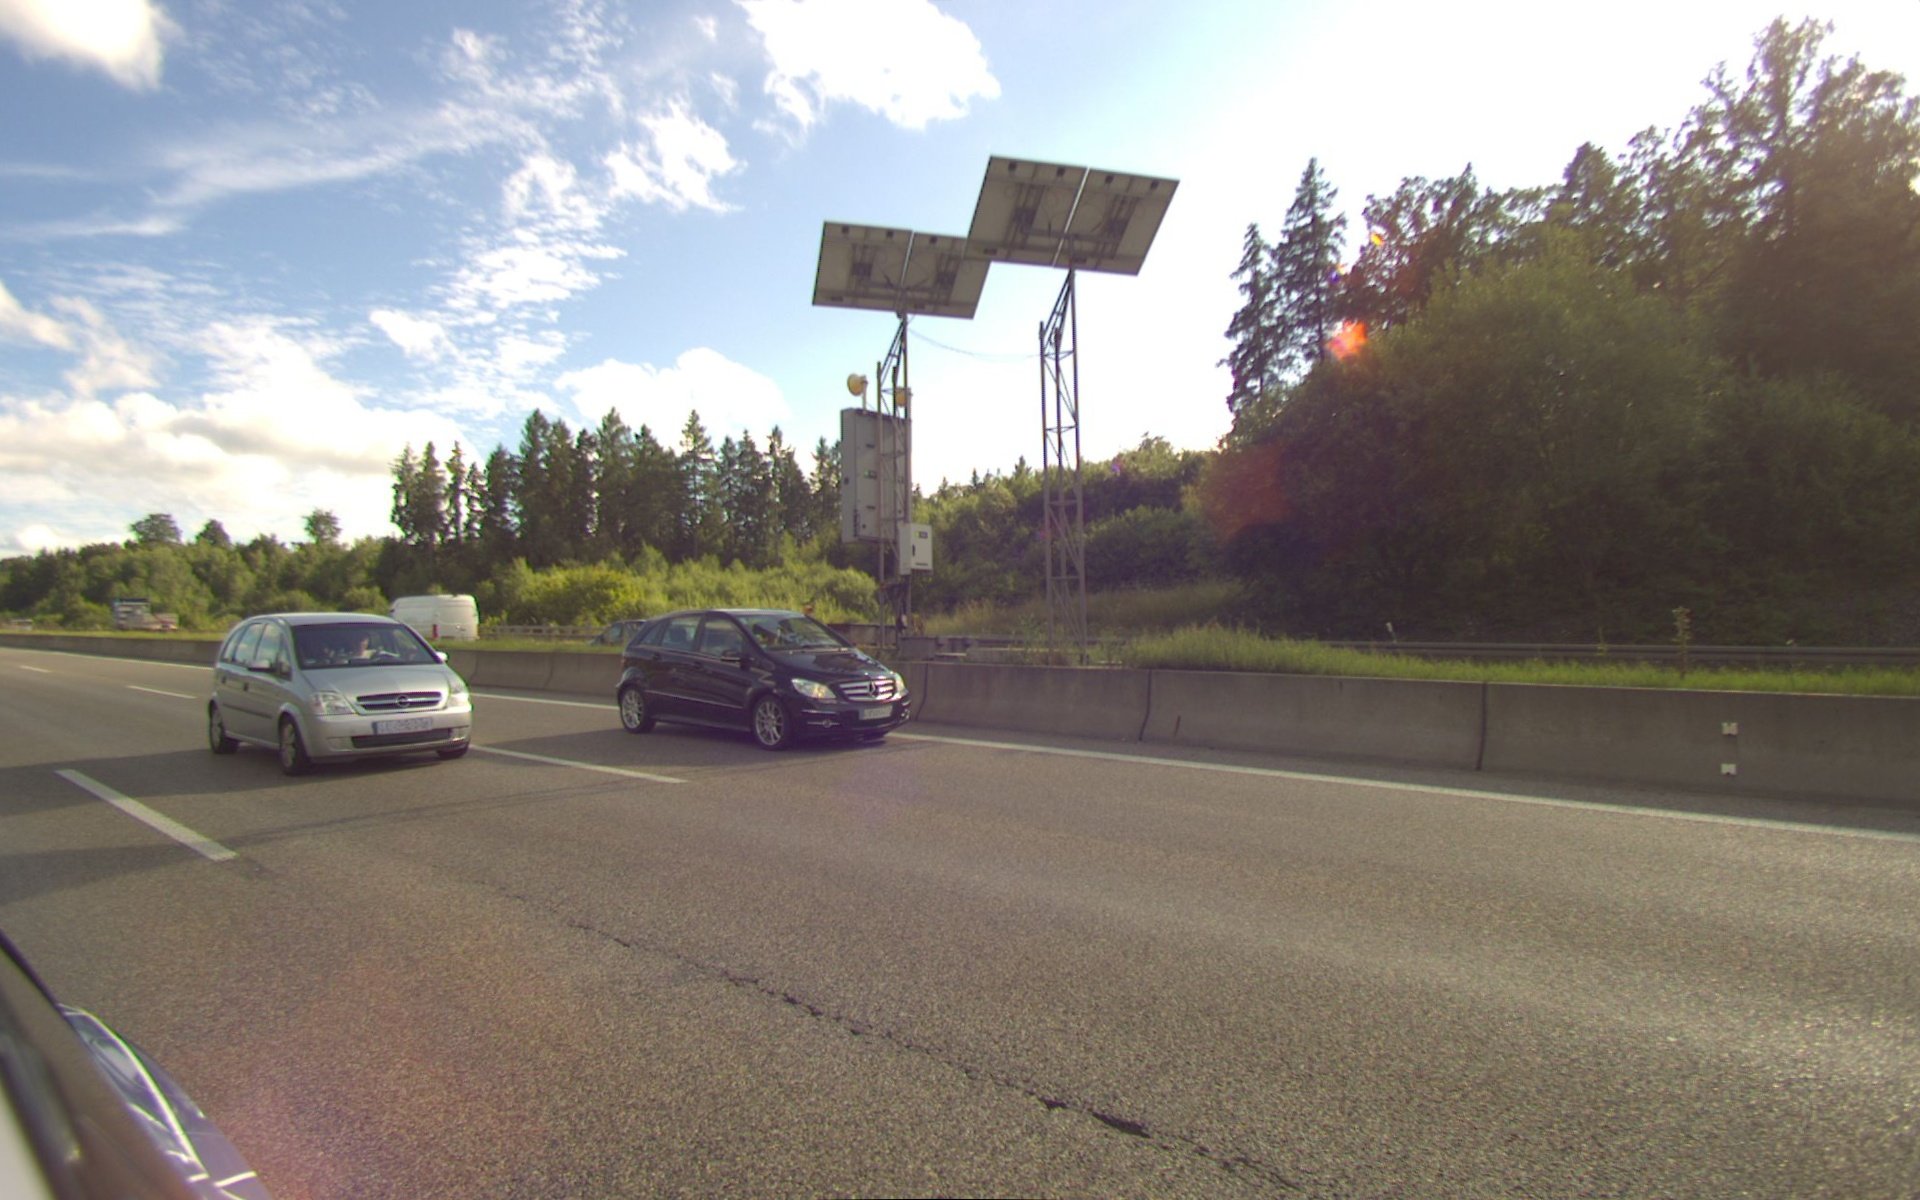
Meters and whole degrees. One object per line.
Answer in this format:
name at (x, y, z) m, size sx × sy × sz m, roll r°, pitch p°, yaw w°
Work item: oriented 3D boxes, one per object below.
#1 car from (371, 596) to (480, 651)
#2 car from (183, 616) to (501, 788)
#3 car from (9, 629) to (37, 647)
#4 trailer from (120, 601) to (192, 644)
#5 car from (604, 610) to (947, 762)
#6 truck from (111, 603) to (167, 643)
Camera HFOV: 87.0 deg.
car at (-24.246, 1.070, 45.775) m, size 6.720 × 2.330 × 2.087 m, roll -2°, pitch -1°, yaw 41°
car at (-6.963, 0.975, 11.213) m, size 4.331 × 1.529 × 1.816 m, roll -2°, pitch -2°, yaw 41°
car at (-113.311, 4.562, 122.343) m, size 4.857 × 2.029 × 1.973 m, roll -2°, pitch -2°, yaw 41°
trailer at (-76.003, 2.124, 95.564) m, size 12.202 × 3.867 × 3.092 m, roll -2°, pitch -2°, yaw 41°
car at (-2.374, 0.917, 12.307) m, size 4.331 × 1.529 × 1.816 m, roll -2°, pitch -2°, yaw 41°
truck at (-81.364, 2.260, 100.216) m, size 7.118 × 3.867 × 3.082 m, roll -2°, pitch -2°, yaw 41°
